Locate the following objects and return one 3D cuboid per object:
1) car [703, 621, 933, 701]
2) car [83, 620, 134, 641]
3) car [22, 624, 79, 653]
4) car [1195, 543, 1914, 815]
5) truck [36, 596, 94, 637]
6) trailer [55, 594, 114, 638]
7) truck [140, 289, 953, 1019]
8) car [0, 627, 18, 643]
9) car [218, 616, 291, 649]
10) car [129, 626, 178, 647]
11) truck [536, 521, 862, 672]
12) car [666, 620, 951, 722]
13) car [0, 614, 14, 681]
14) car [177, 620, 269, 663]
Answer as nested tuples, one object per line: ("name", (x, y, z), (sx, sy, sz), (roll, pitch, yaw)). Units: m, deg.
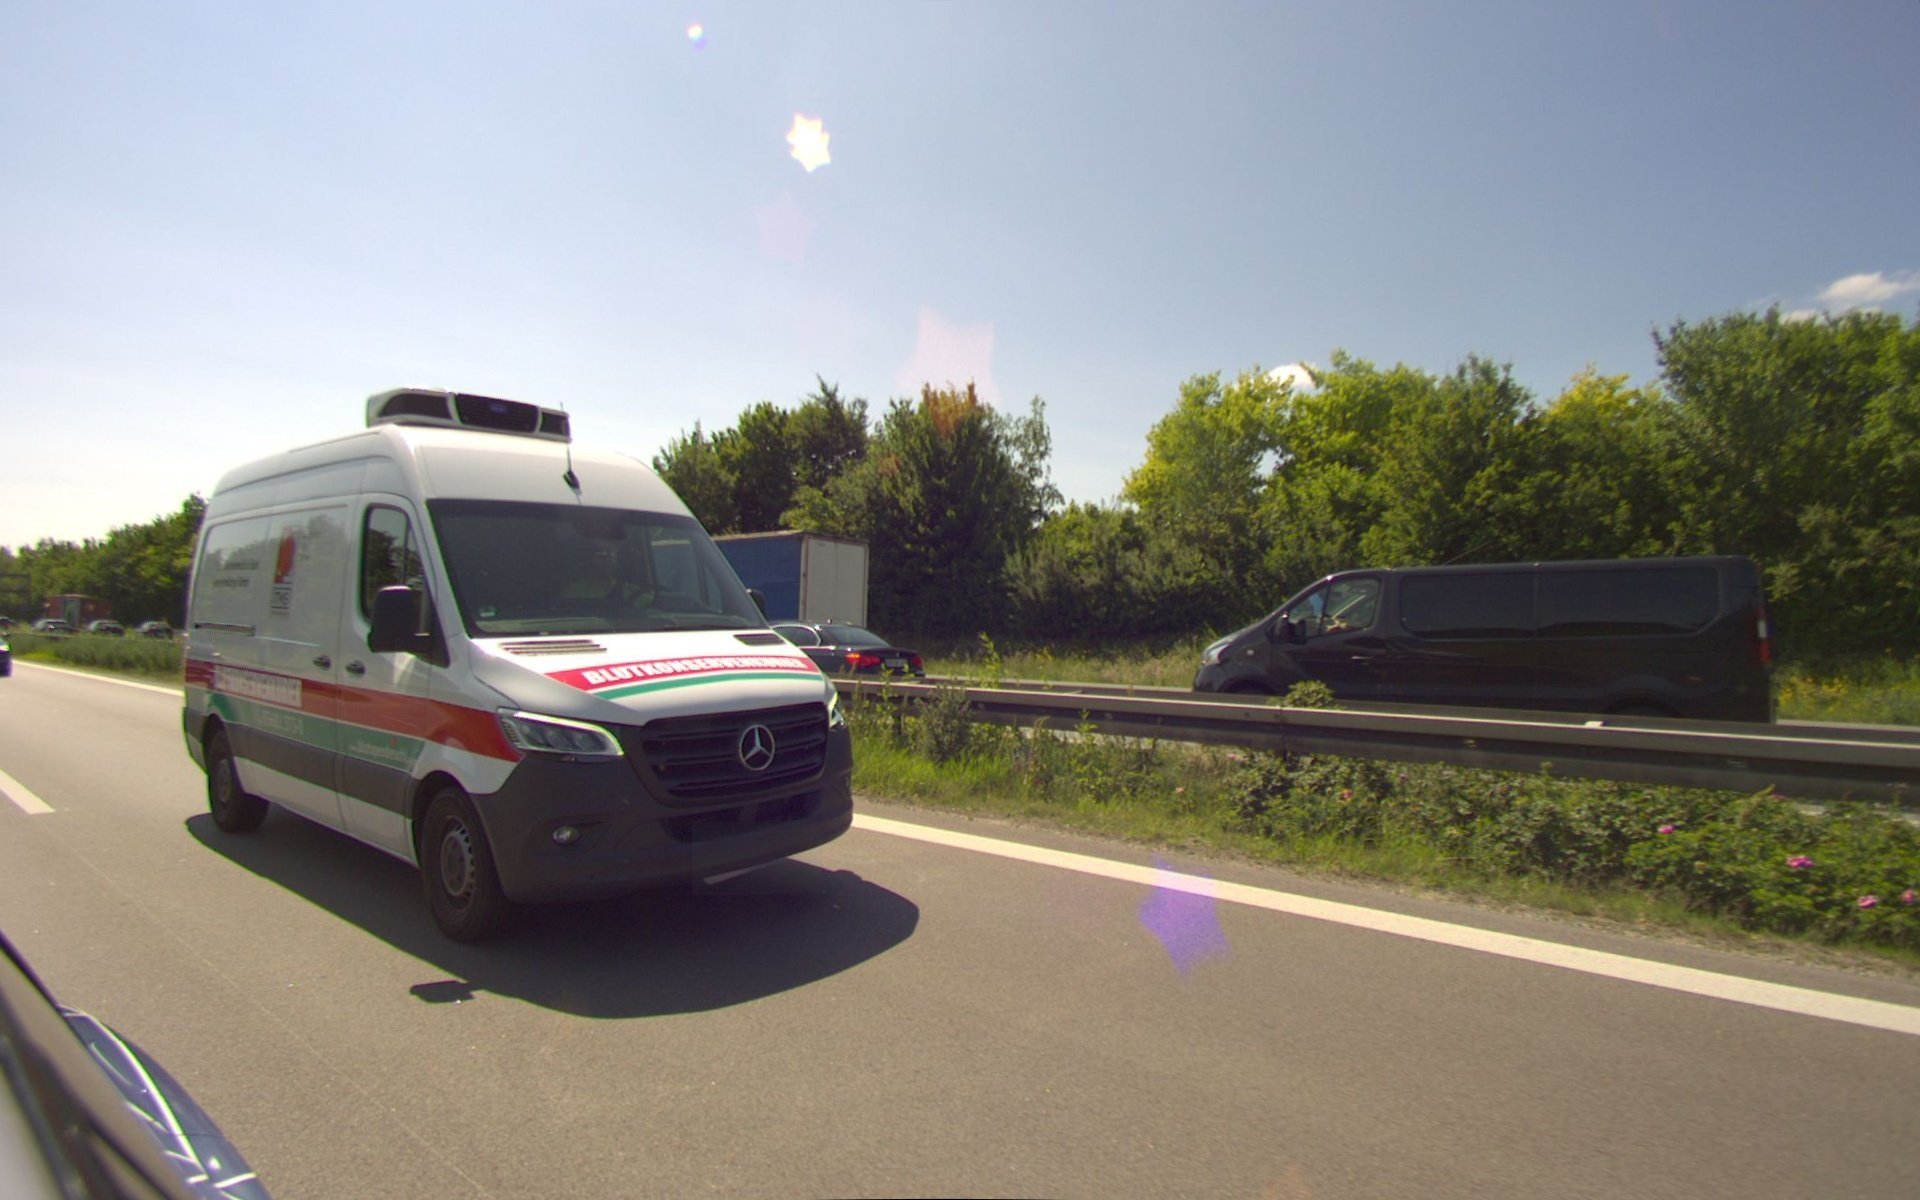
("car", (-3.161, 1.229, 21.810), (5.204, 1.521, 1.973), (-1, -2, 40))
("car", (-60.163, 2.169, 71.444), (4.759, 1.350, 1.876), (-1, -5, 40))
("car", (-59.729, 2.494, 66.423), (4.892, 1.880, 1.974), (-1, -2, 39))
("car", (5.383, 0.635, 9.964), (5.685, 1.960, 2.068), (-1, -2, 41))
("truck", (-86.509, 1.661, 97.780), (9.910, 3.798, 2.652), (-1, -3, 40))
("trailer", (-79.544, 1.478, 91.924), (8.399, 3.798, 2.652), (-1, -3, 40))
("truck", (-3.223, 0.231, 6.488), (6.687, 2.561, 1.973), (-1, 0, 41))
("car", (-99.581, 3.620, 105.035), (4.260, 1.703, 1.974), (-1, -2, 39))
("car", (-33.797, 1.543, 48.432), (4.346, 1.521, 1.776), (-1, -2, 40))
("car", (-61.379, 2.768, 76.985), (4.919, 1.449, 1.876), (-1, -5, 40))
("truck", (-9.032, 0.070, 32.875), (13.949, 4.110, 2.645), (-1, -4, 40))
("car", (-2.635, 1.071, 16.744), (5.015, 1.450, 1.855), (-1, -2, 41))
("car", (-25.695, 1.209, 25.853), (4.239, 1.638, 1.880), (-1, -1, 42))
("car", (-29.177, 1.623, 40.030), (4.717, 1.612, 1.840), (-1, -2, 40))
